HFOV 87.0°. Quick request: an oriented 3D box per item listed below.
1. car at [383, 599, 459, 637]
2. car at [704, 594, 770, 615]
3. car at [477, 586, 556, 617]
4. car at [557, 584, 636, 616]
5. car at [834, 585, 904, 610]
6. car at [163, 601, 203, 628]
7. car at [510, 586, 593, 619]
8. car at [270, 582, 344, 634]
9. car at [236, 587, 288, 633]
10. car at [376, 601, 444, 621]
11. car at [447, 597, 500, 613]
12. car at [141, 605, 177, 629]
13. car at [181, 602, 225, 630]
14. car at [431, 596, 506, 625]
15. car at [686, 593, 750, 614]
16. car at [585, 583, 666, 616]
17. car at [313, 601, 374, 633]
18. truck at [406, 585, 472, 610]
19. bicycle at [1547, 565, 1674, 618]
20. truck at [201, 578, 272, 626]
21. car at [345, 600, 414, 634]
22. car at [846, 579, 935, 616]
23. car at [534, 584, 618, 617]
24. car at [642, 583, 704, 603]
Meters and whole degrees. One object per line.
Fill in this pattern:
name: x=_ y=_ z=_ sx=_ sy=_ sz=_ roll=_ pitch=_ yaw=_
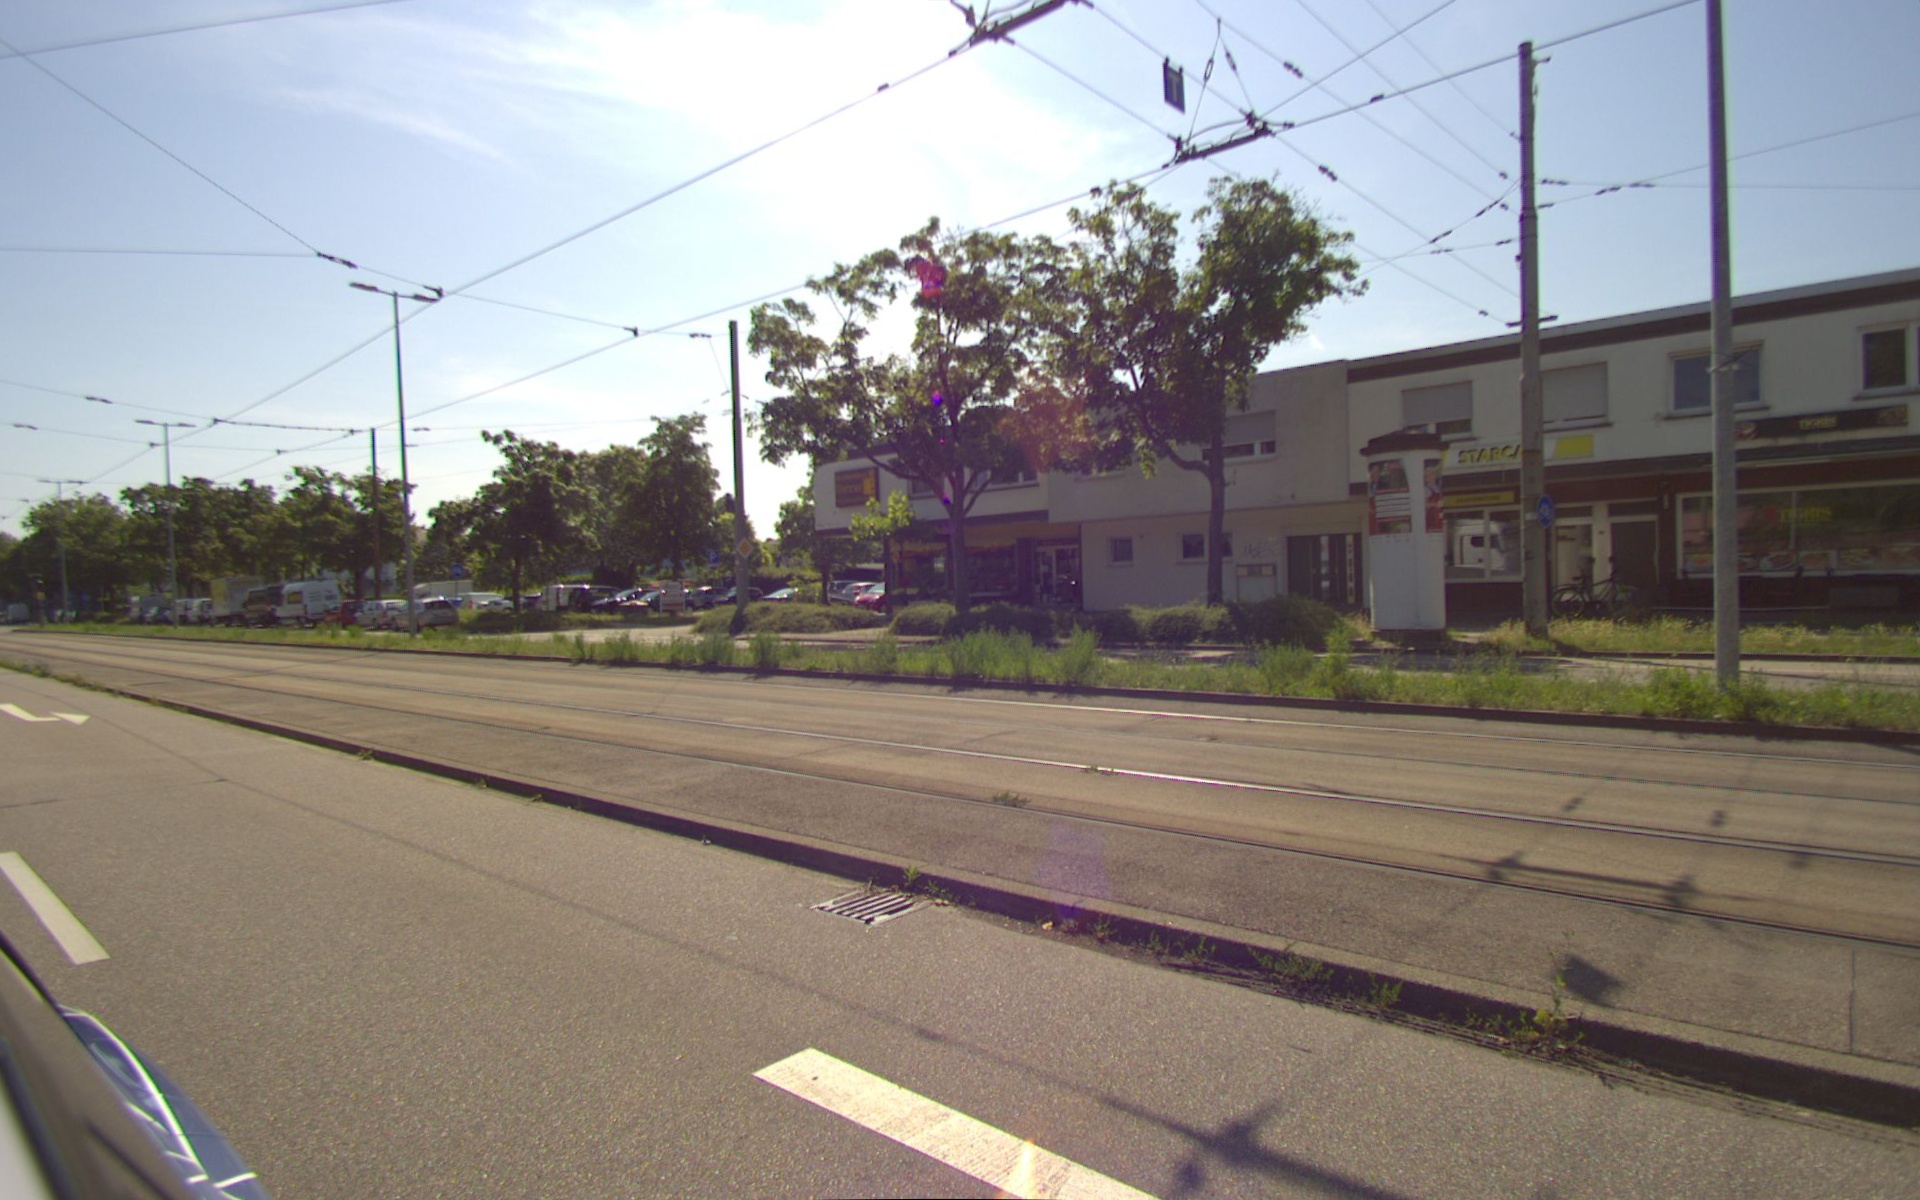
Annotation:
car: x=-25.242 y=0.833 z=47.344 sx=4.255 sy=1.544 sz=1.654 roll=-1 pitch=4 yaw=41
car: x=-15.330 y=0.300 z=69.732 sx=1.676 sy=1.345 sz=4.197 roll=-1 pitch=1 yaw=42
car: x=-28.024 y=0.080 z=64.007 sx=1.988 sy=1.751 sz=4.068 roll=-1 pitch=1 yaw=38
car: x=-20.247 y=-0.008 z=56.488 sx=1.676 sy=1.646 sz=3.761 roll=-1 pitch=1 yaw=42
car: x=-5.503 y=-0.162 z=61.735 sx=1.676 sy=1.345 sz=4.197 roll=-1 pitch=1 yaw=42
car: x=-59.753 y=1.124 z=77.825 sx=4.056 sy=1.859 sz=1.484 roll=-1 pitch=4 yaw=40
car: x=-24.036 y=0.128 z=59.675 sx=1.988 sy=1.751 sz=4.068 roll=-1 pitch=1 yaw=38
car: x=-37.250 y=0.468 z=57.659 sx=5.201 sy=2.673 sz=2.036 roll=-1 pitch=4 yaw=41
car: x=-42.428 y=0.610 z=61.465 sx=4.005 sy=2.643 sz=1.483 roll=-1 pitch=4 yaw=41
car: x=-42.066 y=0.807 z=77.441 sx=1.676 sy=1.345 sz=4.198 roll=-1 pitch=1 yaw=41
car: x=-45.989 y=0.421 z=95.690 sx=1.676 sy=1.345 sz=4.198 roll=-1 pitch=1 yaw=41
car: x=-64.406 y=1.378 z=81.370 sx=3.685 sy=1.799 sz=1.484 roll=-1 pitch=4 yaw=40
car: x=-54.735 y=1.150 z=73.122 sx=4.631 sy=1.817 sz=1.483 roll=-1 pitch=4 yaw=41
car: x=-33.298 y=0.703 z=68.426 sx=5.739 sy=1.825 sz=2.560 roll=-1 pitch=1 yaw=42
car: x=-17.052 y=0.240 z=71.498 sx=1.676 sy=1.345 sz=4.197 roll=-1 pitch=1 yaw=42
car: x=-17.964 y=-0.038 z=54.438 sx=1.676 sy=1.646 sz=3.761 roll=-1 pitch=1 yaw=42
car: x=-33.154 y=0.927 z=54.375 sx=3.791 sy=1.544 sz=1.654 roll=-1 pitch=4 yaw=41
truck: x=-53.011 y=-0.263 z=103.099 sx=1.988 sy=2.398 sz=5.584 roll=-1 pitch=1 yaw=38
bicycle: x=14.690 y=-0.169 z=22.902 sx=2.333 sy=1.161 sz=0.779 roll=-1 pitch=-1 yaw=42
truck: x=-48.353 y=0.161 z=67.551 sx=5.902 sy=2.956 sz=2.476 roll=-1 pitch=4 yaw=42
car: x=-29.305 y=0.861 z=51.036 sx=4.255 sy=1.544 sz=1.654 roll=-1 pitch=4 yaw=41
car: x=-3.243 y=-0.121 z=47.992 sx=1.676 sy=1.616 sz=4.197 roll=-1 pitch=1 yaw=42
car: x=-22.061 y=-0.008 z=58.193 sx=1.988 sy=1.751 sz=4.068 roll=-1 pitch=1 yaw=38
car: x=-21.117 y=-0.519 z=74.682 sx=1.674 sy=1.345 sz=4.201 roll=-1 pitch=1 yaw=39
